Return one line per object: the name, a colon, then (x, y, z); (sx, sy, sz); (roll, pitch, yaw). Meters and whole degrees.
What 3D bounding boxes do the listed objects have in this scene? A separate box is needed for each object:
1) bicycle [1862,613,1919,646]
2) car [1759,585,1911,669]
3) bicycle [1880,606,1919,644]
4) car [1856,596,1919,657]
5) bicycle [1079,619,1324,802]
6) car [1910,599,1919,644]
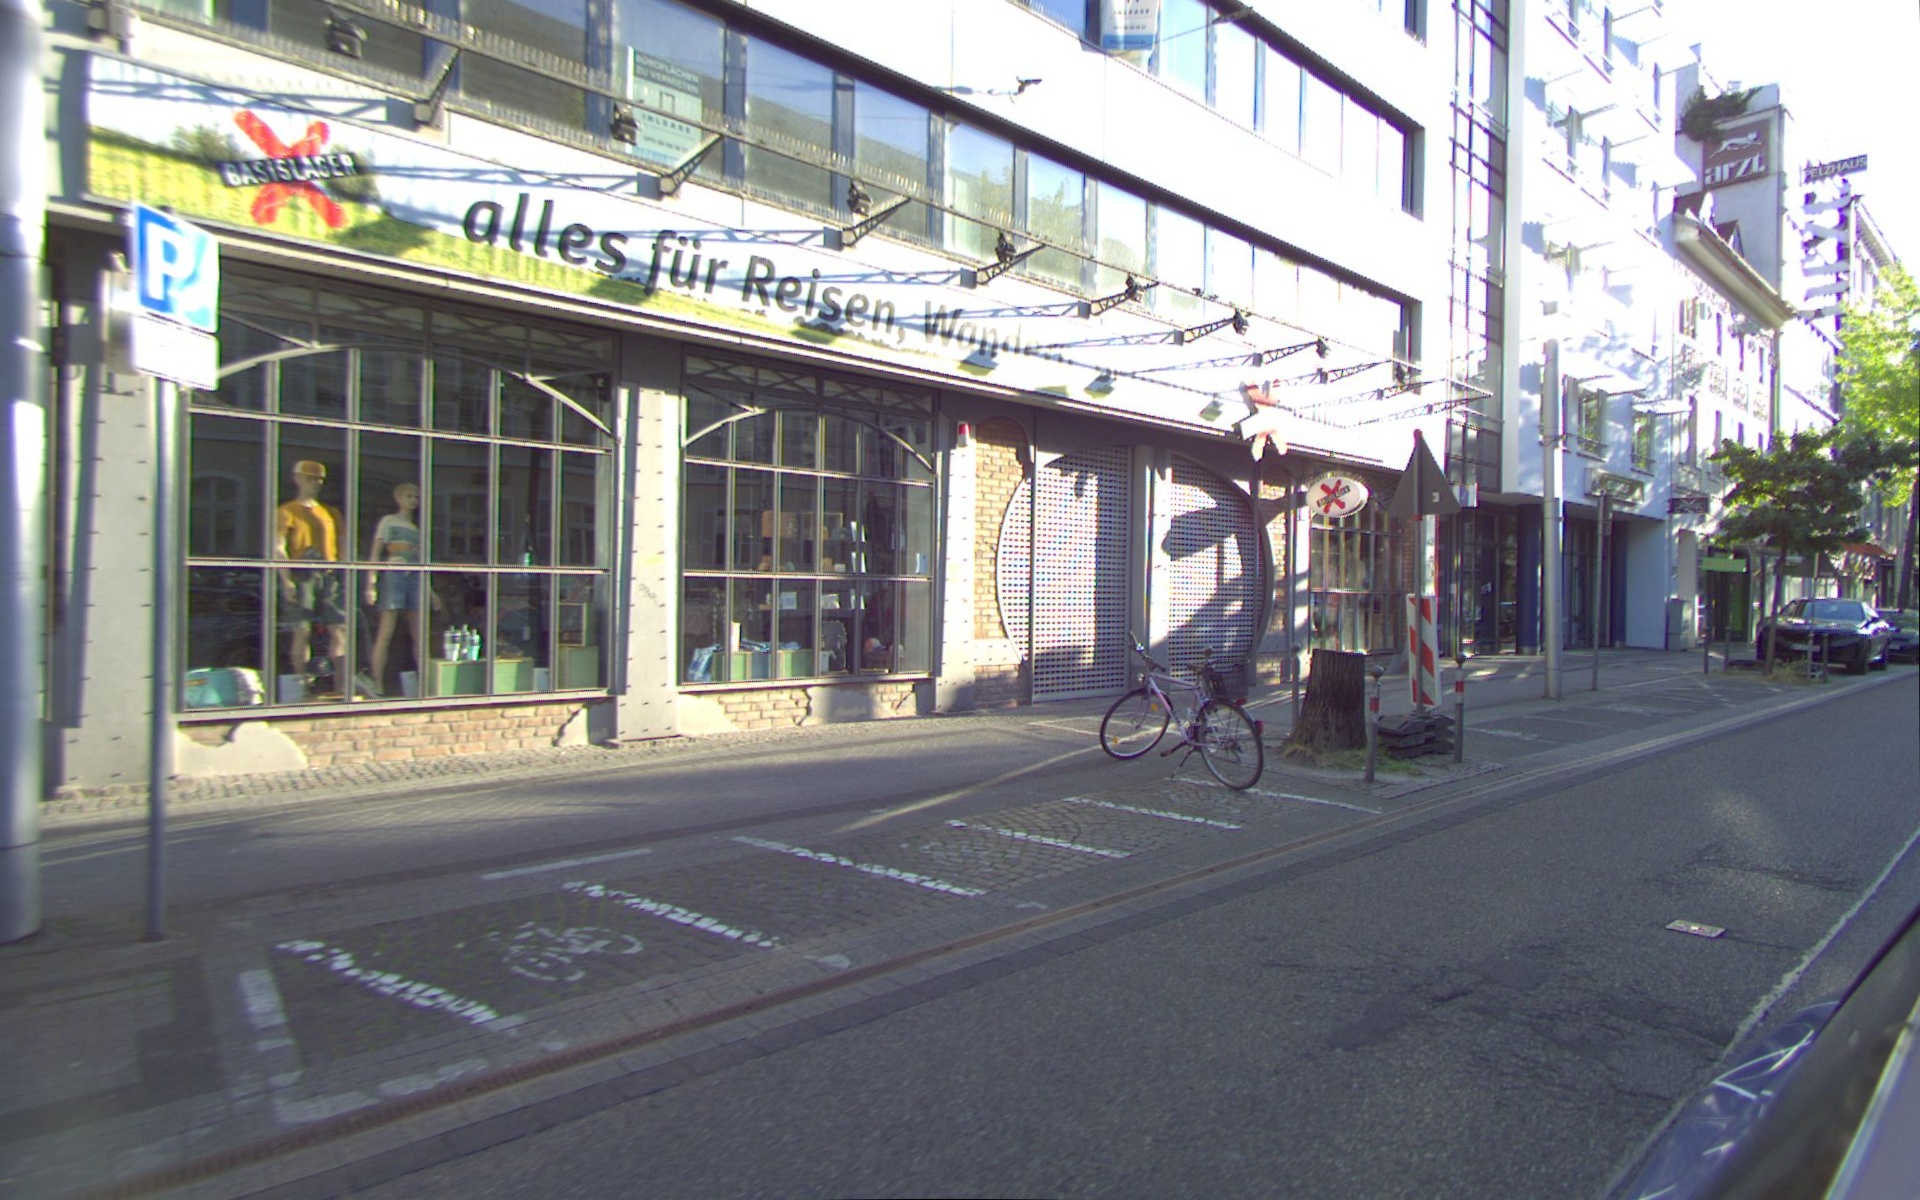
bicycle: (30.116, 0.951, 32.029); (0.603, 1.000, 2.250); (1, 0, -38)
car: (20.864, 0.580, 24.055); (4.788, 1.709, 1.985); (0, 3, -41)
bicycle: (31.703, 0.837, 33.081); (0.737, 1.203, 2.326); (1, 0, -38)
car: (26.871, 0.721, 28.892); (1.865, 1.529, 4.181); (4, 3, 42)
bicycle: (1.851, 0.791, 8.051); (0.824, 1.148, 1.820); (0, 3, -32)
car: (34.394, 0.735, 34.989); (4.210, 1.530, 1.769); (0, 0, -40)
